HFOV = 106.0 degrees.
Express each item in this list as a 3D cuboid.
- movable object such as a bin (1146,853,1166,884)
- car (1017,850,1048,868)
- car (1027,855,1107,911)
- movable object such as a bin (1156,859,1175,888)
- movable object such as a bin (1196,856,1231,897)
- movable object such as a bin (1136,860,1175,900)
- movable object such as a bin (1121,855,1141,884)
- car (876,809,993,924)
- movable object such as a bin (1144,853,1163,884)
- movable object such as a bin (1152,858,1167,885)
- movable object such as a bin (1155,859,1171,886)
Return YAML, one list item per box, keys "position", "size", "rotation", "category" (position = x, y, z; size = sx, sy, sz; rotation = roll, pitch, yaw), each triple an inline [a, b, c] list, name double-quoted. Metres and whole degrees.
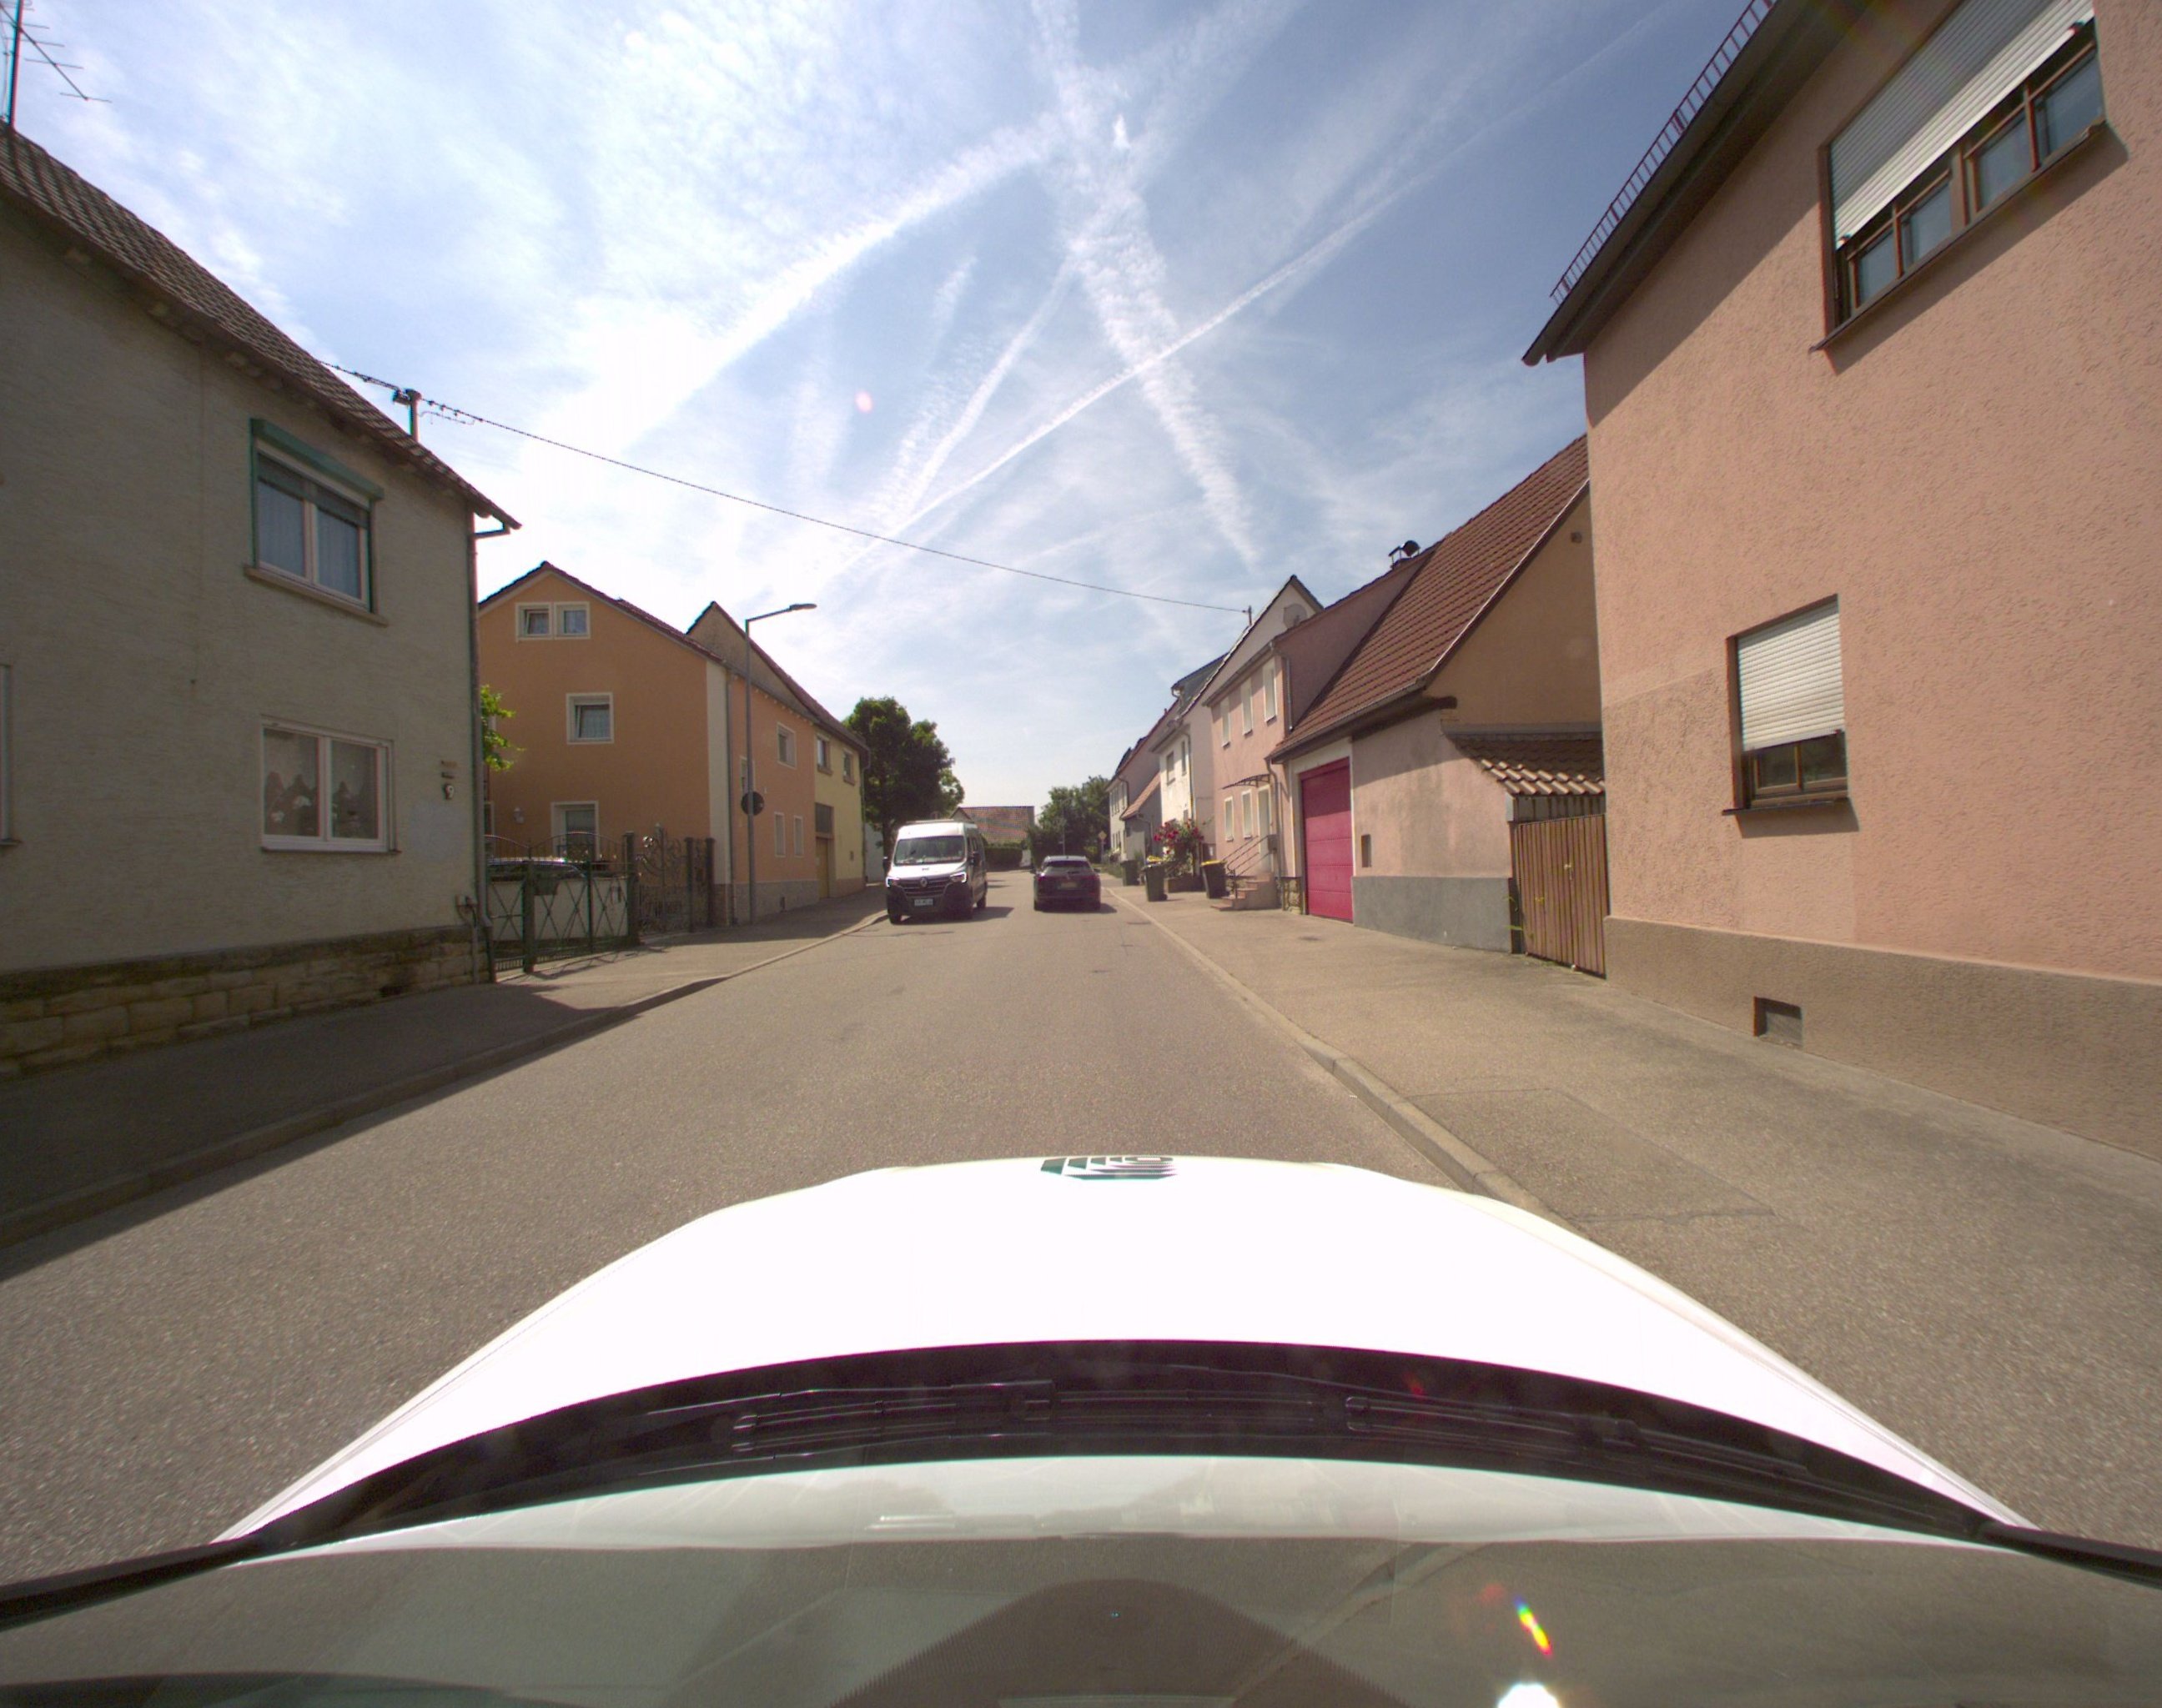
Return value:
- position: [2.937, 0.574, 32.060]
  size: [0.663, 1.194, 0.587]
  rotation: [-2, 0, -3]
  category: "movable object such as a bin"
- position: [-5.848, 0.623, 98.745]
  size: [2.111, 2.013, 4.960]
  rotation: [-2, 0, 17]
  category: "car"
- position: [-0.507, 0.740, 23.100]
  size: [1.839, 1.420, 4.671]
  rotation: [0, 0, -7]
  category: "car"
- position: [3.087, 0.700, 29.841]
  size: [0.591, 1.040, 0.530]
  rotation: [-2, 0, -3]
  category: "movable object such as a bin"
- position: [3.741, 0.619, 23.031]
  size: [0.677, 1.050, 0.833]
  rotation: [-7, 1, -7]
  category: "movable object such as a bin"
- position: [2.211, 0.755, 24.153]
  size: [0.875, 1.074, 0.871]
  rotation: [-7, 1, -7]
  category: "movable object such as a bin"
- position: [2.040, 0.640, 33.274]
  size: [0.677, 1.155, 0.818]
  rotation: [-2, 0, -7]
  category: "movable object such as a bin"
- position: [-3.730, 0.275, 21.848]
  size: [2.108, 2.562, 5.823]
  rotation: [-3, 0, -2]
  category: "car"
- position: [2.930, 0.572, 32.979]
  size: [0.663, 1.194, 0.659]
  rotation: [-2, 0, -3]
  category: "movable object such as a bin"
- position: [3.039, 0.682, 31.527]
  size: [0.502, 0.993, 0.441]
  rotation: [-2, 0, -3]
  category: "movable object such as a bin"
- position: [3.112, 0.684, 30.859]
  size: [0.502, 0.993, 0.441]
  rotation: [-2, 0, -3]
  category: "movable object such as a bin"
